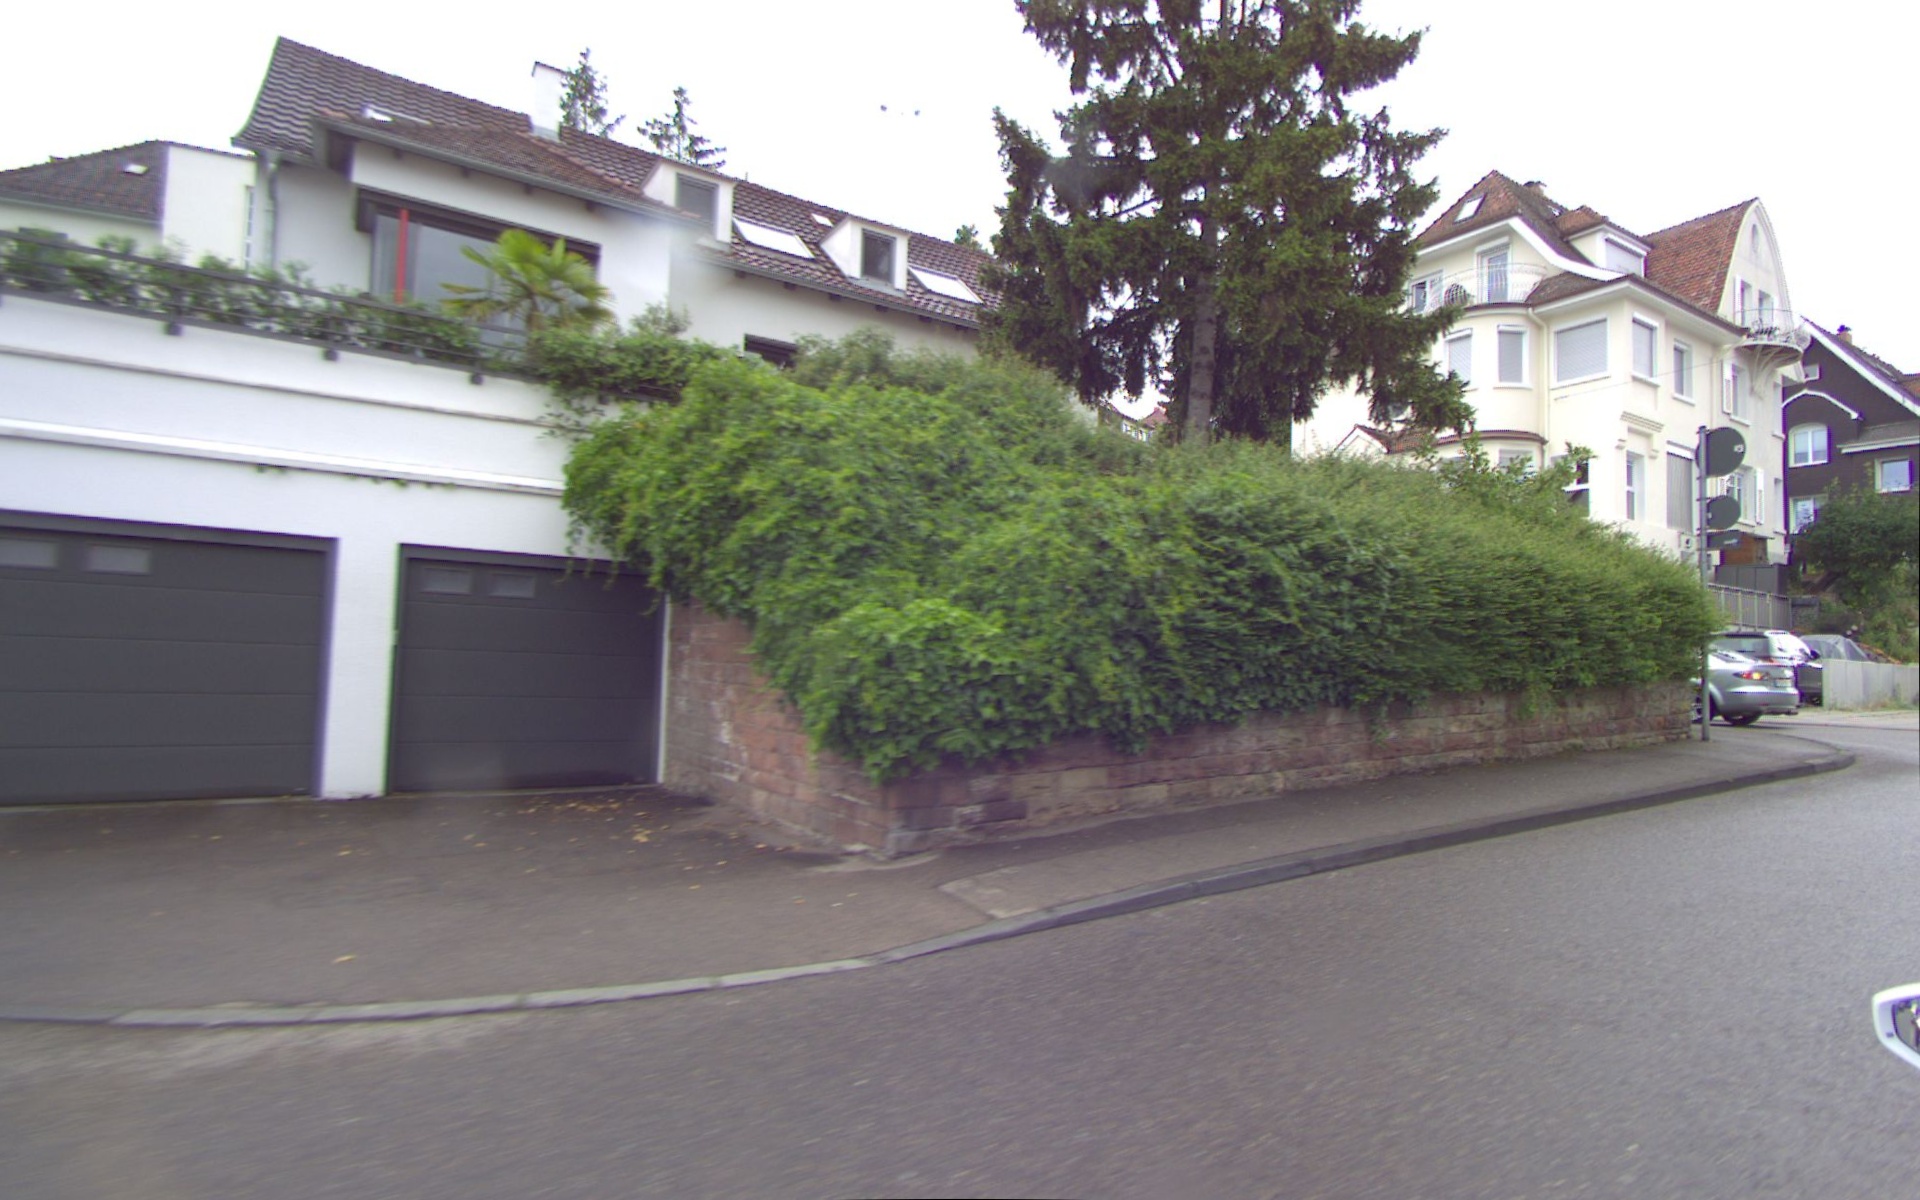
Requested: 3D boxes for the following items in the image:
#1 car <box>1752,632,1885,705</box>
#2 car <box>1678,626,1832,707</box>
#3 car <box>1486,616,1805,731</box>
[{"bbox_3d":[21.872,1.697,25.554,3.962,1.719,1.753,2,-2,-37],"label":"car"},{"bbox_3d":[17.811,1.446,22.448,3.962,1.639,1.753,2,-2,-37],"label":"car"},{"bbox_3d":[12.031,1.196,17.890,1.807,1.577,4.329,2,1,-39],"label":"car"}]
